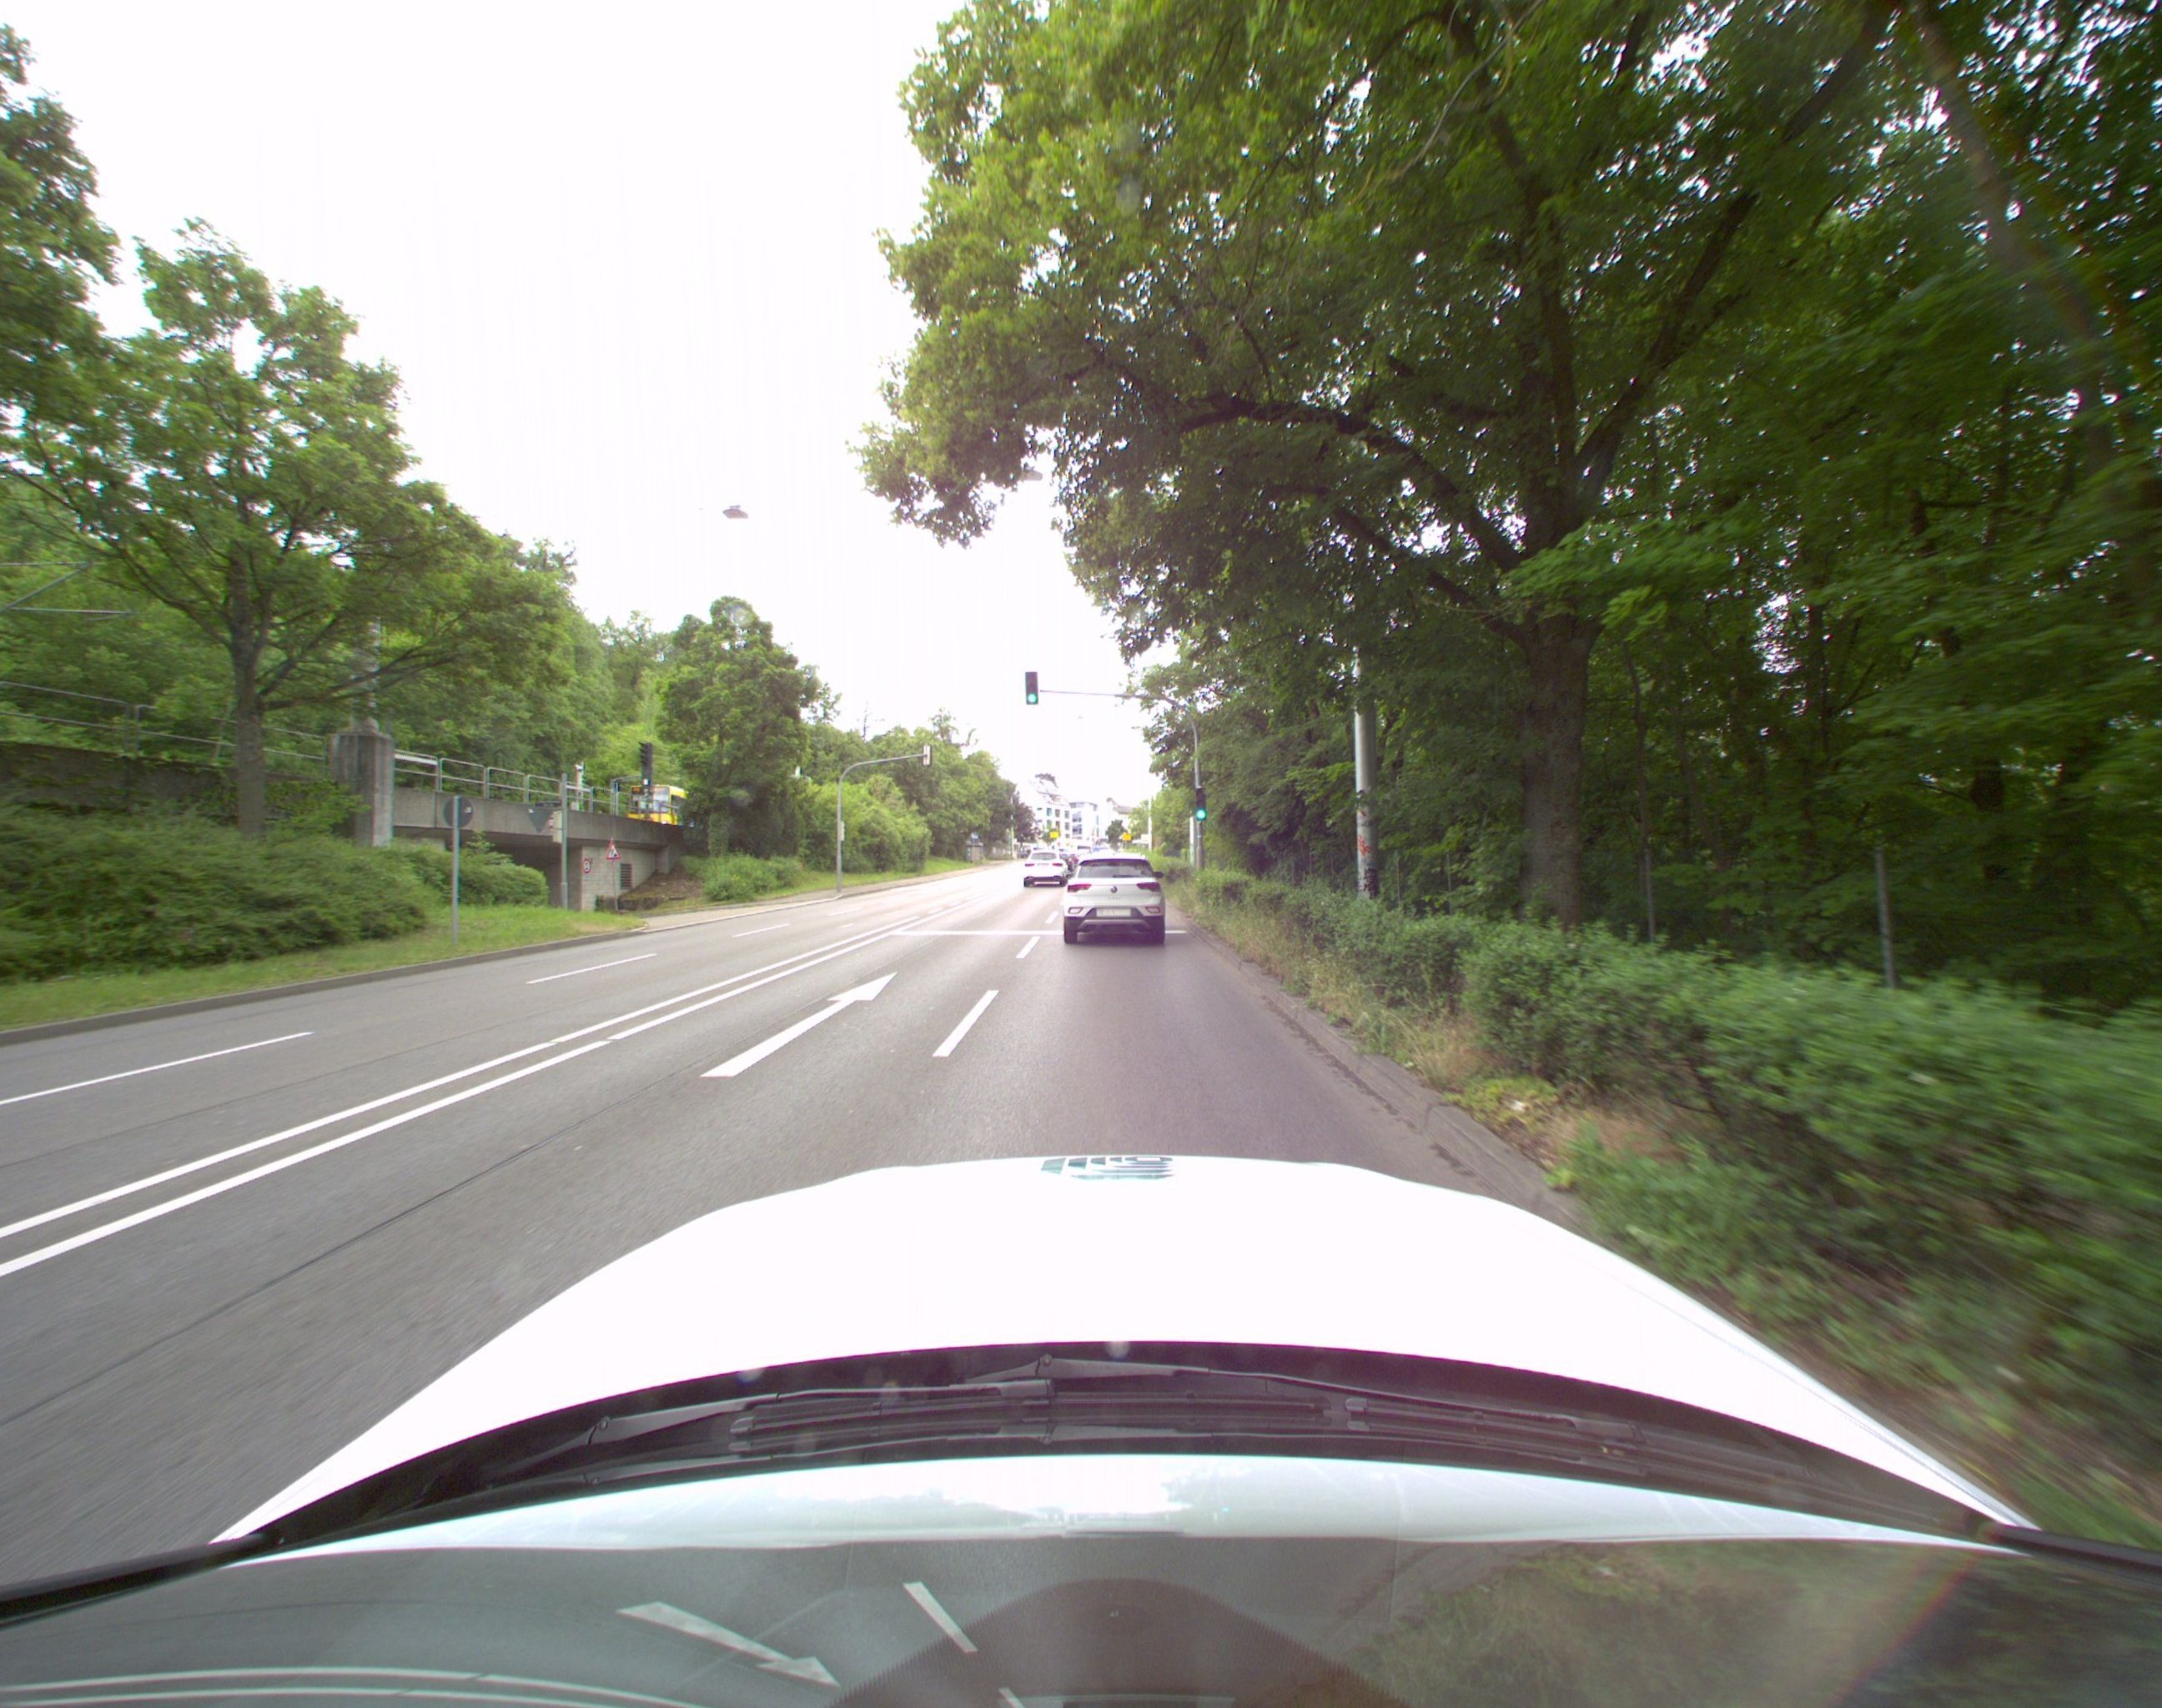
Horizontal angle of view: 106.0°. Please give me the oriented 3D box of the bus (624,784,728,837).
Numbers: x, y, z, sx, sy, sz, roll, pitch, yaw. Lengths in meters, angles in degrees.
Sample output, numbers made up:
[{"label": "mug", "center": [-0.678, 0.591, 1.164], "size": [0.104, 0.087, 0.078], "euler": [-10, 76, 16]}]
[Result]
[{"label": "bus", "center": [-26.081, -2.706, 52.922], "size": [2.531, 2.789, 7.945], "euler": [-3, -1, 1]}]

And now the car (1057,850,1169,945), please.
[{"label": "car", "center": [0.585, 0.715, 15.486], "size": [1.822, 1.526, 4.001], "euler": [-2, 0, 1]}]

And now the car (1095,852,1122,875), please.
[{"label": "car", "center": [1.960, 0.642, 58.797], "size": [1.822, 1.526, 4.001], "euler": [-2, 0, 1]}]

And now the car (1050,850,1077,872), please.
[{"label": "car", "center": [-1.274, 0.487, 60.616], "size": [1.822, 1.497, 4.001], "euler": [-2, 0, 1]}]

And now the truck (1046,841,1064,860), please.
[{"label": "truck", "center": [-3.829, -0.560, 122.427], "size": [2.354, 2.706, 4.479], "euler": [-3, 0, 1]}]

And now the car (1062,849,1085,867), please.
[{"label": "car", "center": [-0.619, 0.334, 72.787], "size": [1.822, 1.526, 4.001], "euler": [-2, 0, 1]}]

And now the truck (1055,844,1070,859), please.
[{"label": "truck", "center": [-3.950, -0.518, 172.573], "size": [2.282, 3.051, 6.990], "euler": [-3, 0, 5]}]

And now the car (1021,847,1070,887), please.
[{"label": "car", "center": [-1.557, 0.573, 37.257], "size": [1.911, 1.669, 4.001], "euler": [-2, 0, 1]}]

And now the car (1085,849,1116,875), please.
[{"label": "car", "center": [1.226, 0.474, 51.033], "size": [1.822, 1.526, 4.001], "euler": [-2, 0, 1]}]

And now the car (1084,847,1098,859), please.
[{"label": "car", "center": [1.468, -0.147, 117.206], "size": [1.822, 1.526, 4.001], "euler": [-2, 0, 1]}]
